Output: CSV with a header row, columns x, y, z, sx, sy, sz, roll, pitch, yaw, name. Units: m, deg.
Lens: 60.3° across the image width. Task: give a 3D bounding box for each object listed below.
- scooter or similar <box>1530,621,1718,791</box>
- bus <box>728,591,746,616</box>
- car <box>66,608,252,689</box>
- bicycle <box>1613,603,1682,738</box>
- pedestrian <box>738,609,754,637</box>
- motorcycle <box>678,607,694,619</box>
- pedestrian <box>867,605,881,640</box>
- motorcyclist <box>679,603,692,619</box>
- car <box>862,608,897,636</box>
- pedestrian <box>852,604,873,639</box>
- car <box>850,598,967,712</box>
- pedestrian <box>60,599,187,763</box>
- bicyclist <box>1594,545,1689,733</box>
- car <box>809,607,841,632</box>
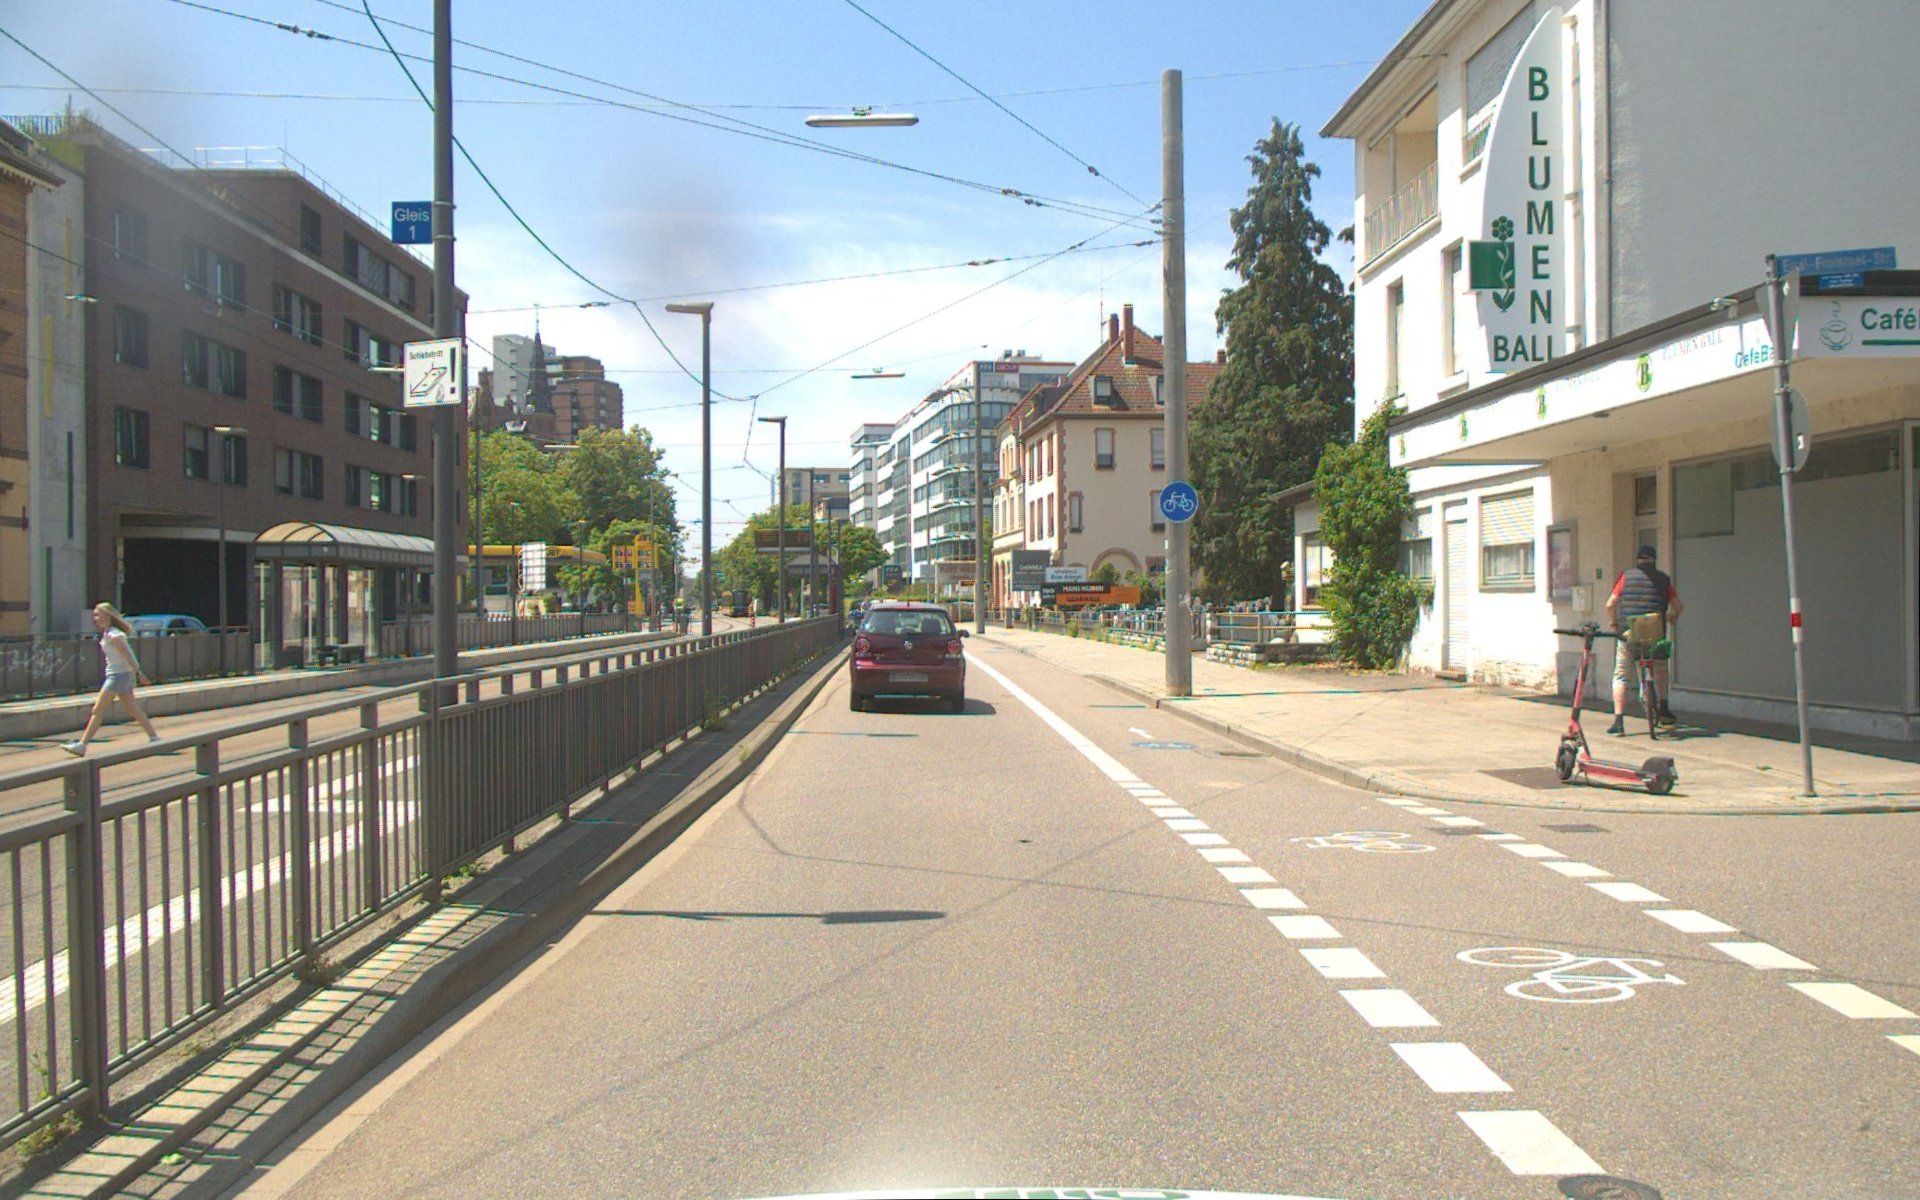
x,y,z,sx,sy,sz,roll,pitch,yaw,name
4.962,0.760,12.443,0.335,1.198,1.456,-1,0,-25,scooter or similar
-28.279,0.429,209.890,2.105,3.055,6.560,-1,0,-8,bus
-16.815,0.966,34.951,1.953,1.534,4.000,-1,0,0,car
6.711,0.653,16.193,0.367,1.218,1.906,-1,0,15,bicycle
-15.921,1.688,122.922,1.087,2.049,1.038,-1,-1,-2,pedestrian
-19.616,0.940,118.305,0.854,0.820,1.909,-1,0,-2,motorcycle
-4.644,1.211,89.498,0.730,1.868,0.791,-1,0,-5,pedestrian
-19.621,0.781,118.281,0.832,1.159,0.634,-1,0,-2,motorcyclist
-4.975,1.361,101.973,1.955,1.653,4.626,-1,0,-5,car
-5.354,1.176,90.795,1.146,1.868,0.791,-1,0,-5,pedestrian
-0.756,0.735,23.528,1.530,1.479,3.060,-1,0,-3,car
-9.095,0.851,17.989,1.090,1.704,0.754,0,-1,-40,pedestrian
6.720,0.376,16.343,0.712,1.791,0.924,-1,0,15,bicyclist
-10.690,1.519,130.441,1.959,1.881,3.987,-1,0,-13,car
